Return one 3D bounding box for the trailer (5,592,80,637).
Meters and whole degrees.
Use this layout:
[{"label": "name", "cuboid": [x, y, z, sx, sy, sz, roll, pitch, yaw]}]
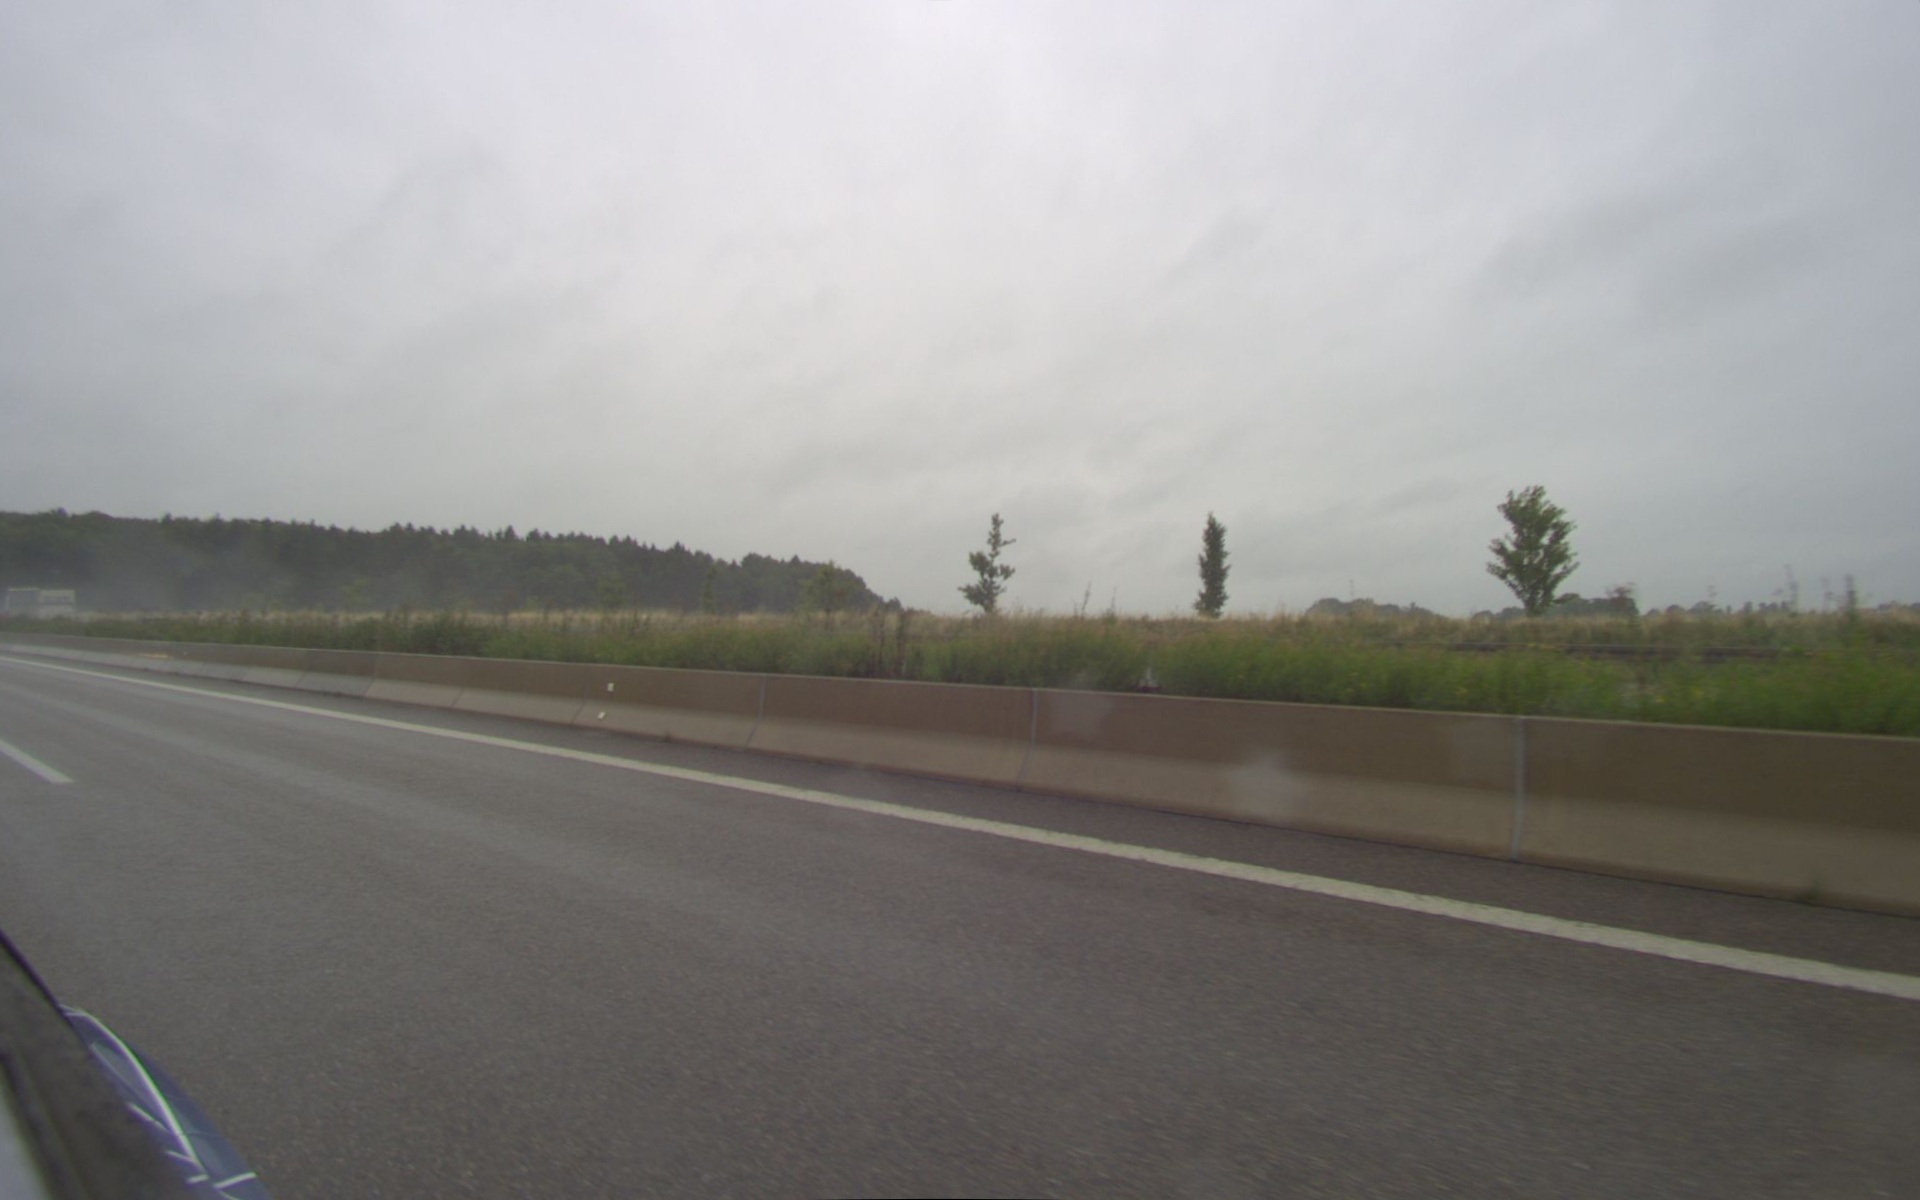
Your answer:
[{"label": "trailer", "cuboid": [-88.320, 1.452, 97.315, 13.874, 4.049, 3.352, -1, -1, 39]}]
